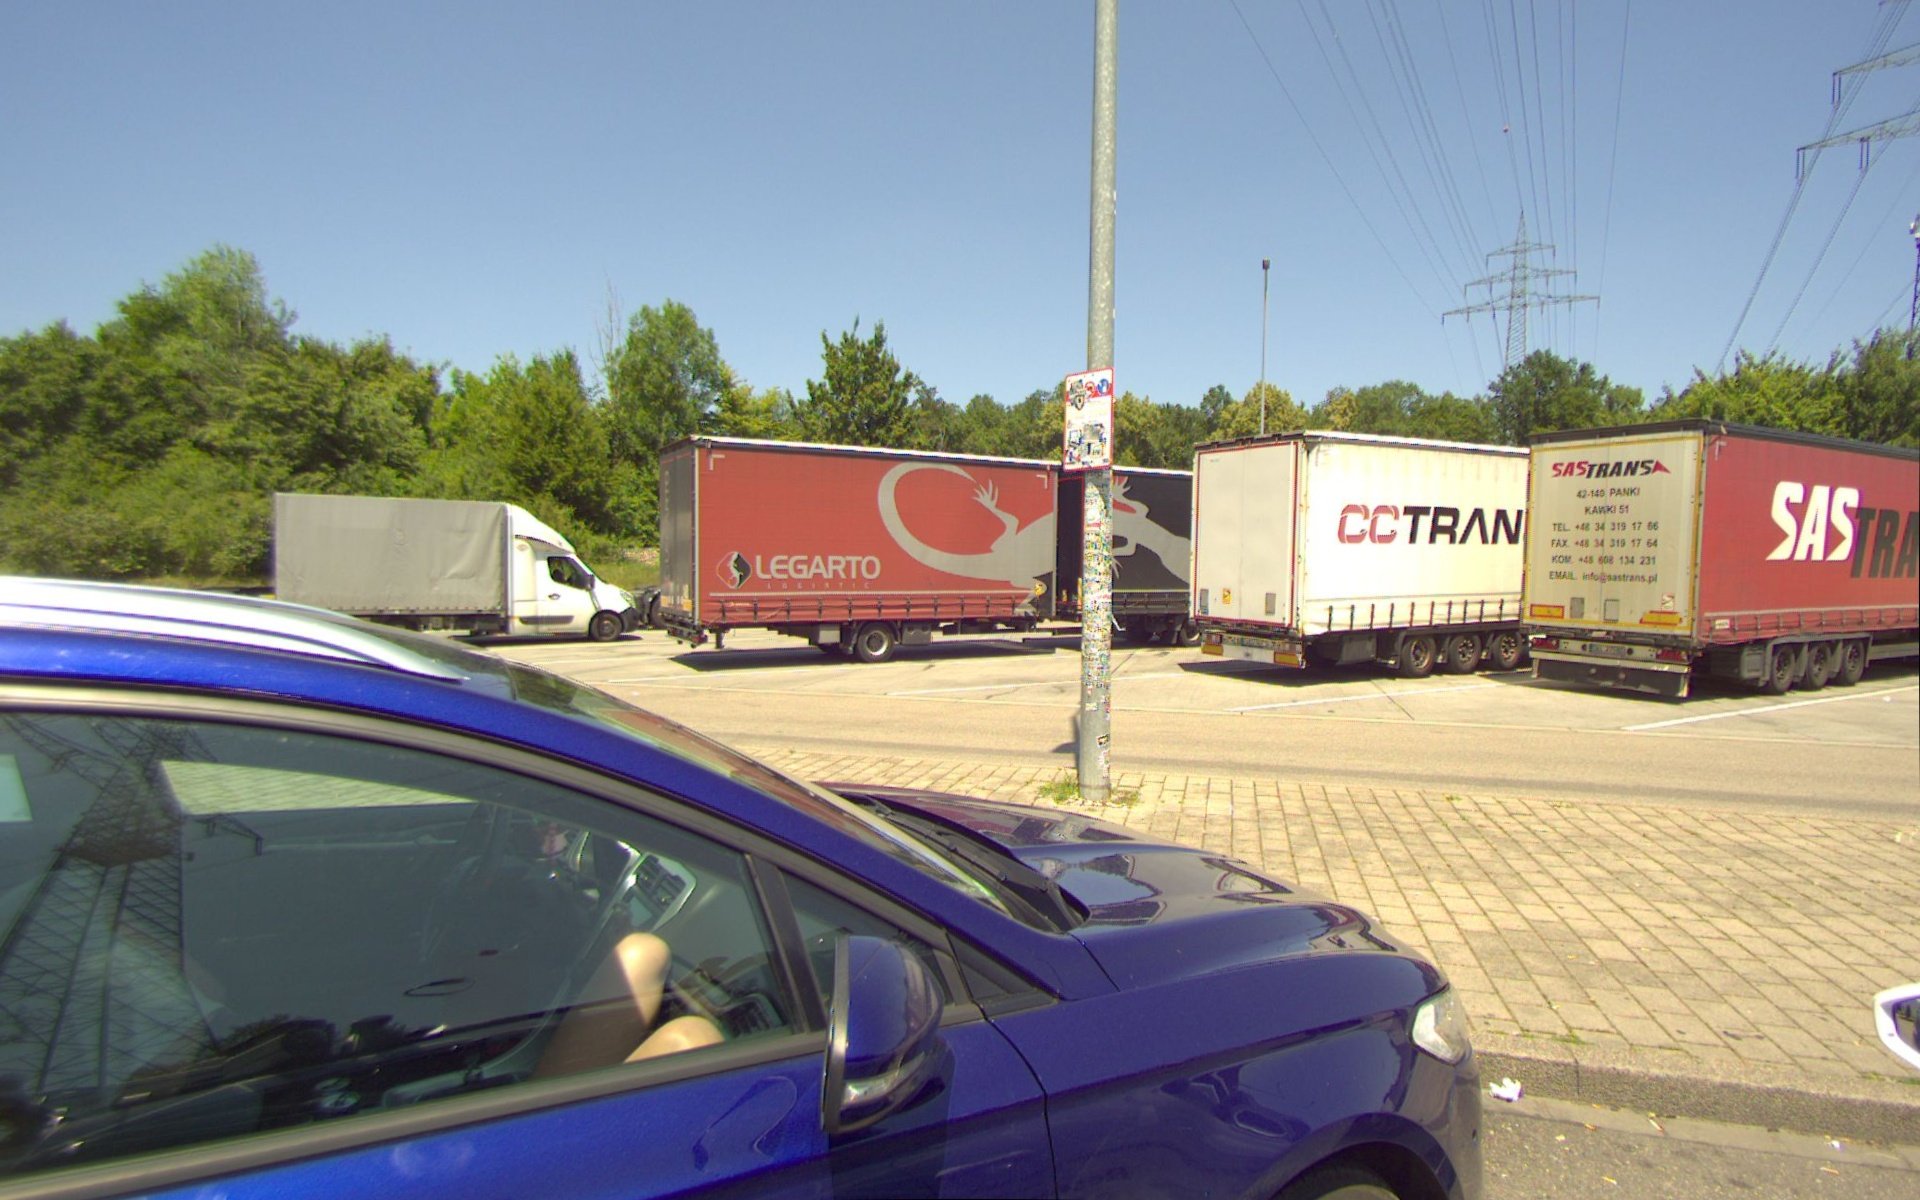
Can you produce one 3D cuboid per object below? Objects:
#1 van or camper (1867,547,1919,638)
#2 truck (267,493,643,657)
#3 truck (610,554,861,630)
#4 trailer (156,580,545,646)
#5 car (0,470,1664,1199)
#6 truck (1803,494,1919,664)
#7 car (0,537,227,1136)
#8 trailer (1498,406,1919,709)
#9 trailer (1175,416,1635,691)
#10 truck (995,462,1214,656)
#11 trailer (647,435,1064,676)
[{"bbox_3d":[30.233,-0.193,28.800,5.732,2.600,2.272,1,2,17],"label":"van or camper"},{"bbox_3d":[-11.215,-0.598,22.904,7.254,3.254,2.515,-1,3,-30],"label":"truck"},{"bbox_3d":[-6.494,-0.199,29.527,6.961,2.040,1.984,0,0,-30],"label":"truck"},{"bbox_3d":[-14.843,0.231,25.188,7.996,1.394,2.211,-1,3,-30],"label":"trailer"},{"bbox_3d":[-0.992,0.658,1.473,4.592,1.502,1.727,0,0,-33],"label":"car"},{"bbox_3d":[21.715,-0.460,22.309,5.418,3.475,2.838,-1,3,-30],"label":"truck"},{"bbox_3d":[-4.565,0.585,2.257,4.592,1.554,1.726,0,1,-33],"label":"car"},{"bbox_3d":[15.393,-0.725,18.564,13.559,4.189,2.892,-1,3,-30],"label":"trailer"},{"bbox_3d":[8.854,-0.843,19.328,10.049,4.268,2.714,-1,3,-30],"label":"trailer"},{"bbox_3d":[3.344,-0.932,23.361,4.273,4.072,2.689,-1,3,-30],"label":"truck"},{"bbox_3d":[-1.938,-0.853,20.267,7.996,4.101,2.696,-1,3,-30],"label":"trailer"}]
